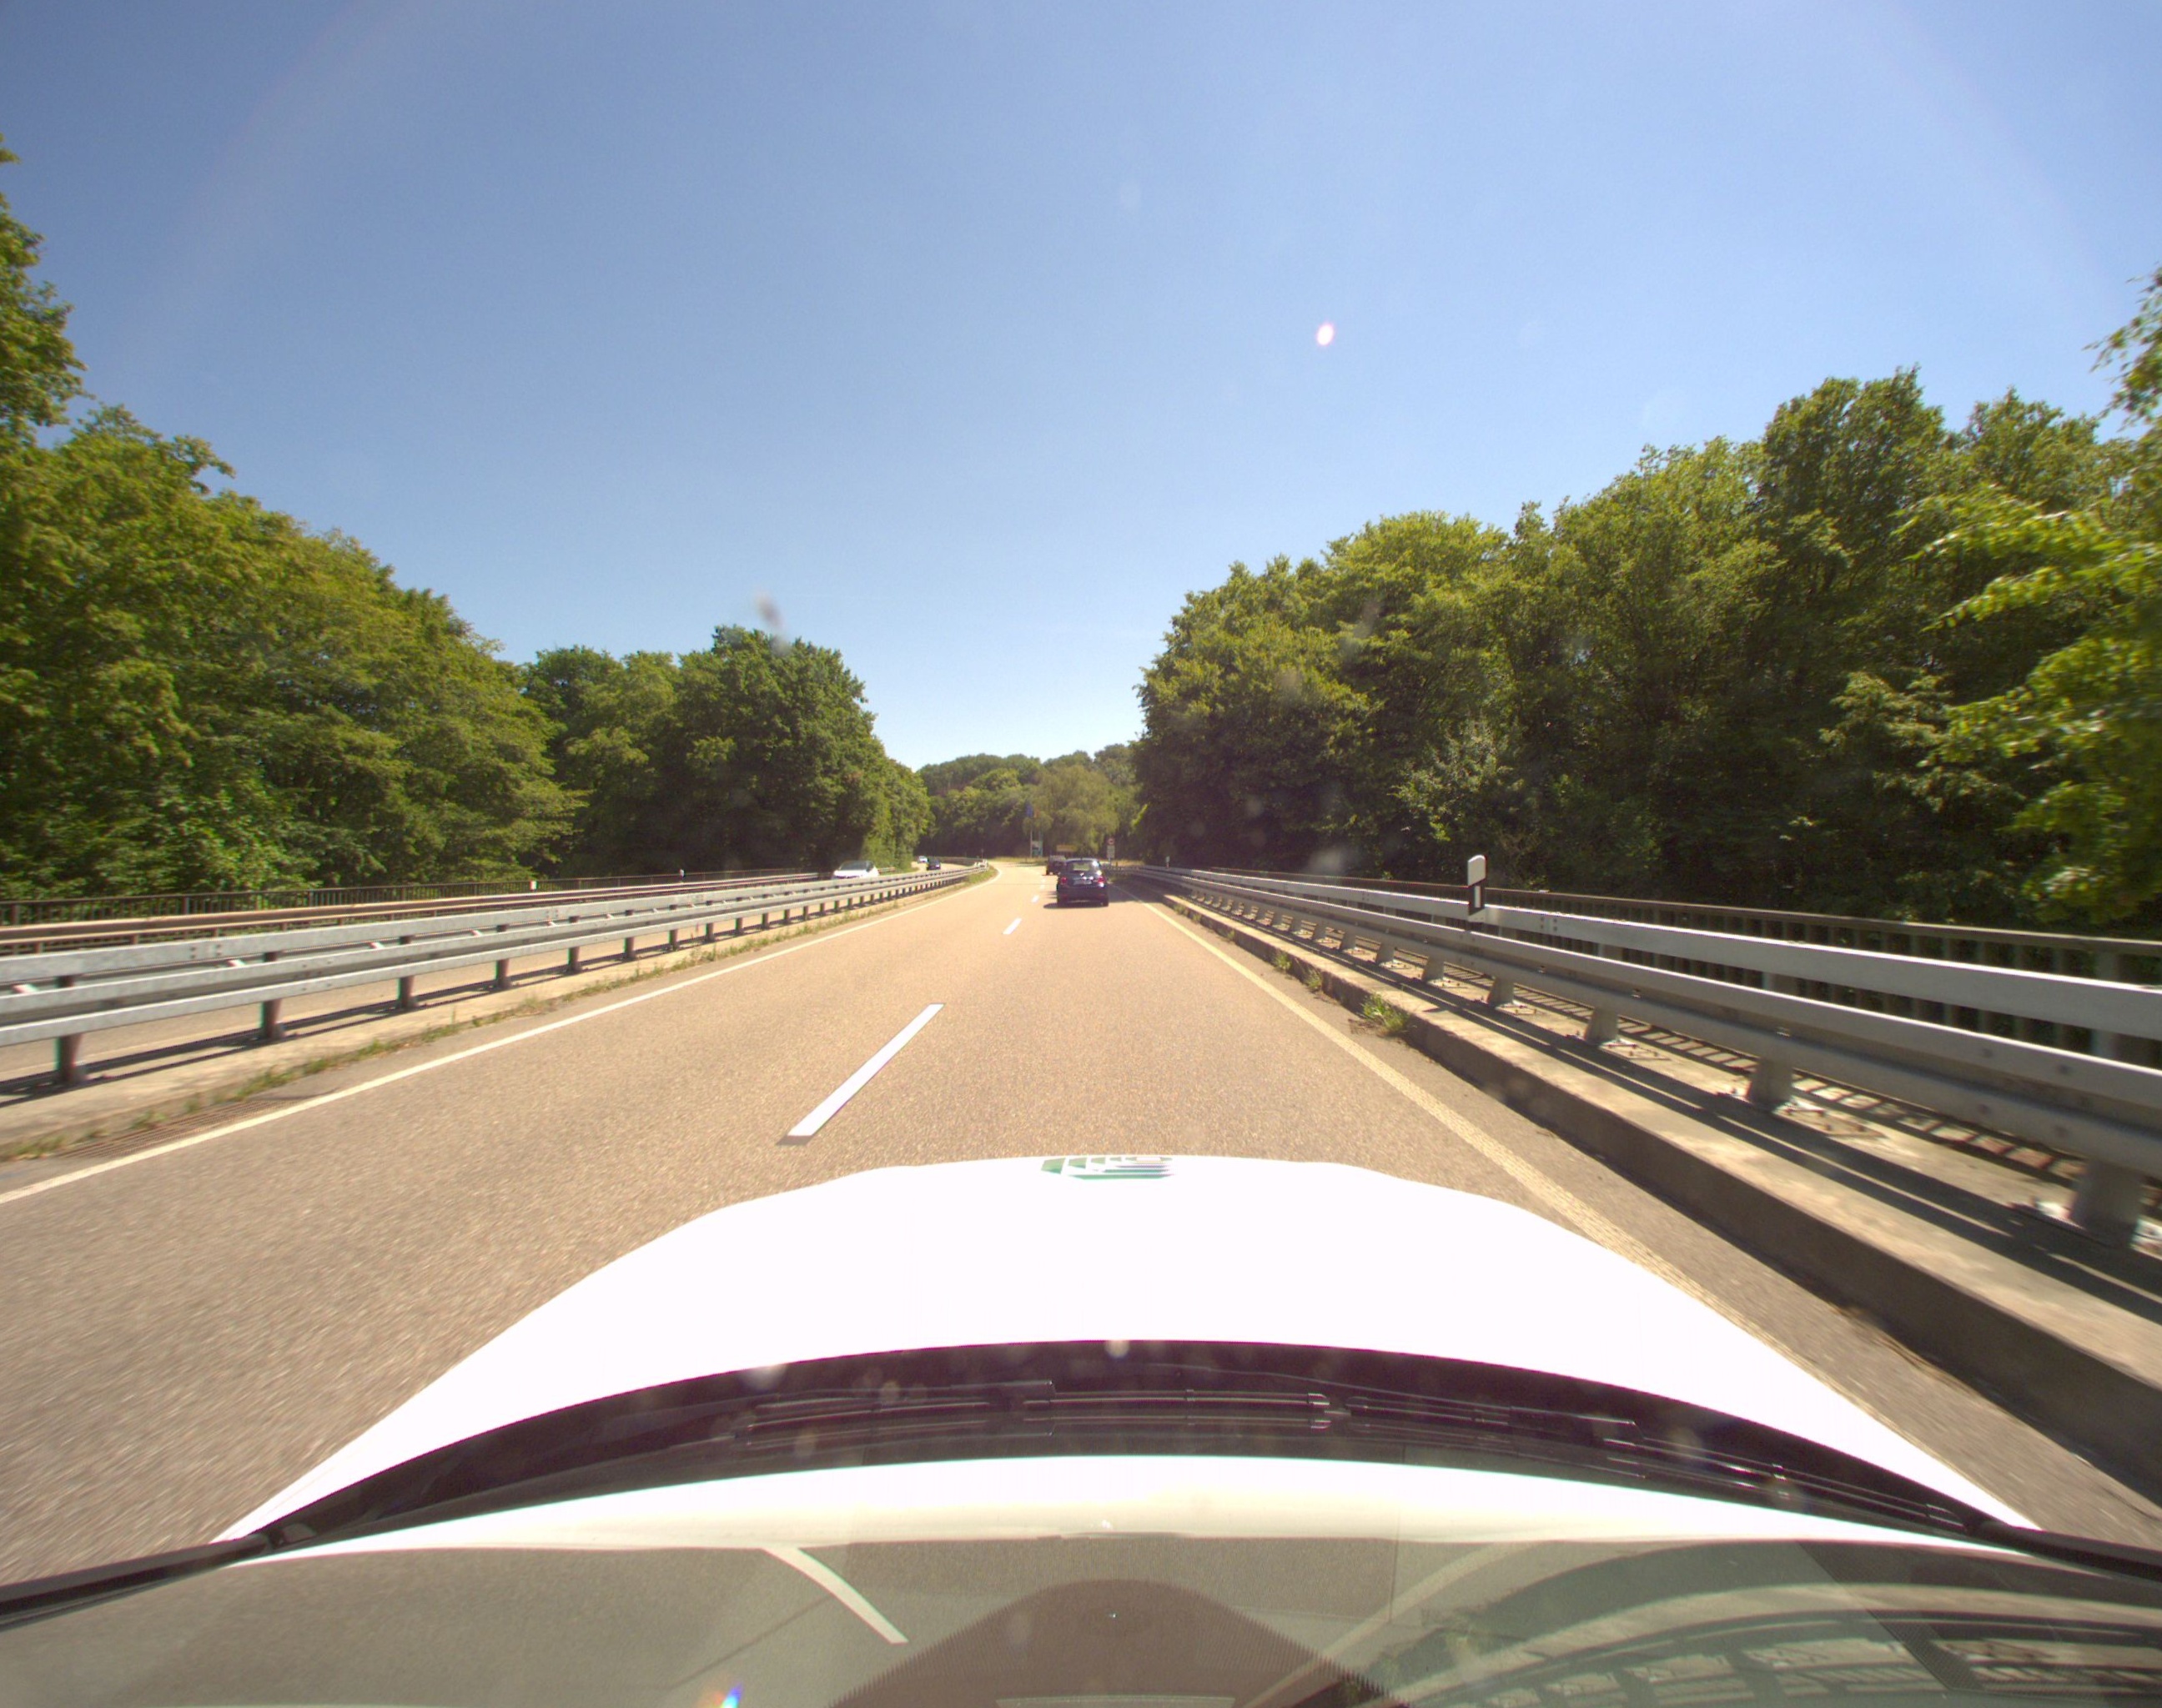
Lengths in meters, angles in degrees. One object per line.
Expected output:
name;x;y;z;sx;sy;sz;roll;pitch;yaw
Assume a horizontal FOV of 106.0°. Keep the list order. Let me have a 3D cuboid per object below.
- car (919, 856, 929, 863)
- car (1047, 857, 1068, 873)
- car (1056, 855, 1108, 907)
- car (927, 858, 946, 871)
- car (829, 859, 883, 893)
car;-37.483;1.250;193.949;1.761;1.573;4.385;-2;0;-19
car;-2.036;0.960;70.406;1.523;1.313;3.407;-2;0;-7
car;0.044;0.803;26.152;1.508;1.501;3.590;-2;0;0
car;-19.029;1.349;107.199;1.751;1.528;4.681;-2;0;-1
car;-11.536;1.087;42.018;1.646;1.606;4.217;-2;0;-1
